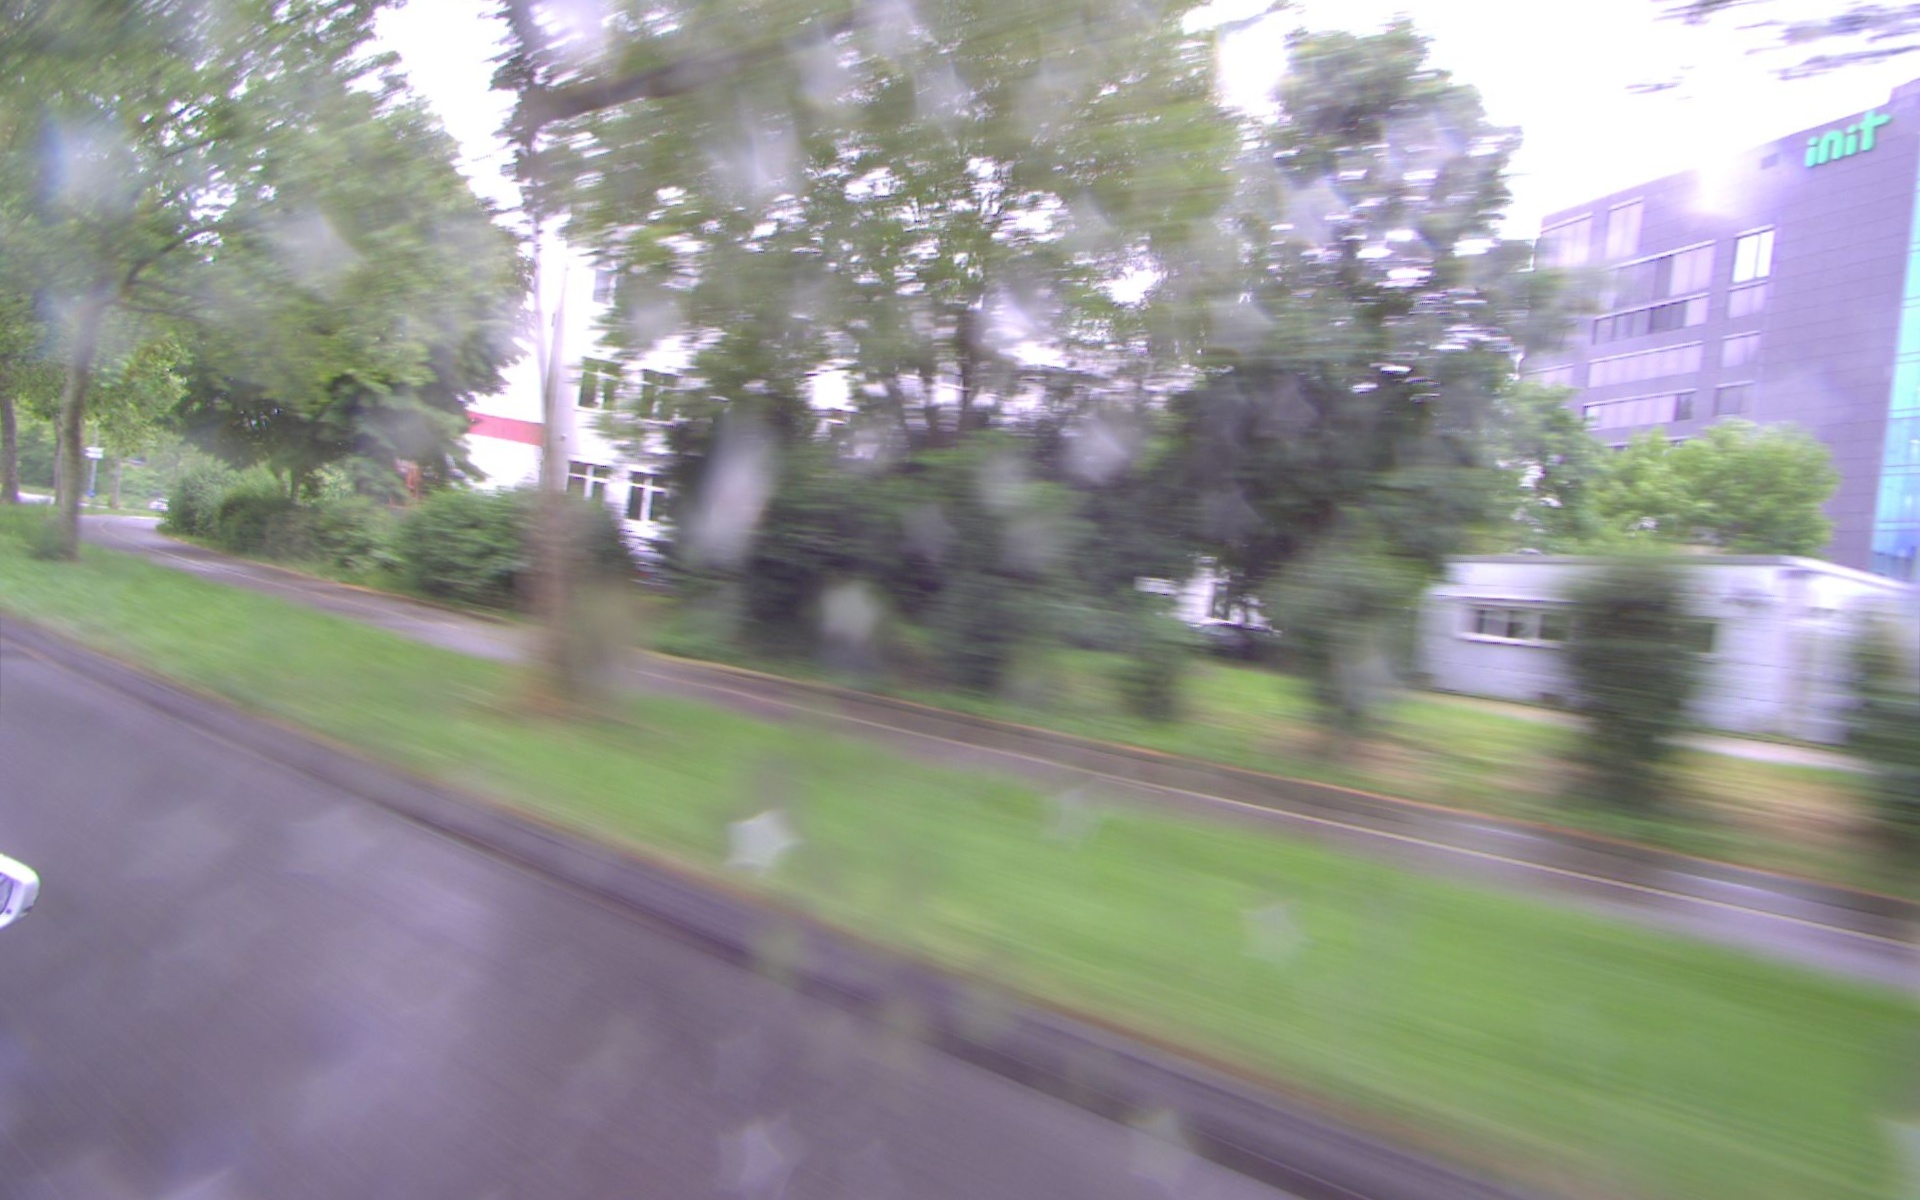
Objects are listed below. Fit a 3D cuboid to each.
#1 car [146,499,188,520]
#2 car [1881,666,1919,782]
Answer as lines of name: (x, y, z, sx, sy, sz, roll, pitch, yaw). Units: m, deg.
car: (-77.911, -8.844, 98.839, 1.760, 1.574, 3.983, 9, 0, -18)
car: (12.884, 1.667, 12.289, 1.741, 1.500, 4.147, 9, -1, 36)
